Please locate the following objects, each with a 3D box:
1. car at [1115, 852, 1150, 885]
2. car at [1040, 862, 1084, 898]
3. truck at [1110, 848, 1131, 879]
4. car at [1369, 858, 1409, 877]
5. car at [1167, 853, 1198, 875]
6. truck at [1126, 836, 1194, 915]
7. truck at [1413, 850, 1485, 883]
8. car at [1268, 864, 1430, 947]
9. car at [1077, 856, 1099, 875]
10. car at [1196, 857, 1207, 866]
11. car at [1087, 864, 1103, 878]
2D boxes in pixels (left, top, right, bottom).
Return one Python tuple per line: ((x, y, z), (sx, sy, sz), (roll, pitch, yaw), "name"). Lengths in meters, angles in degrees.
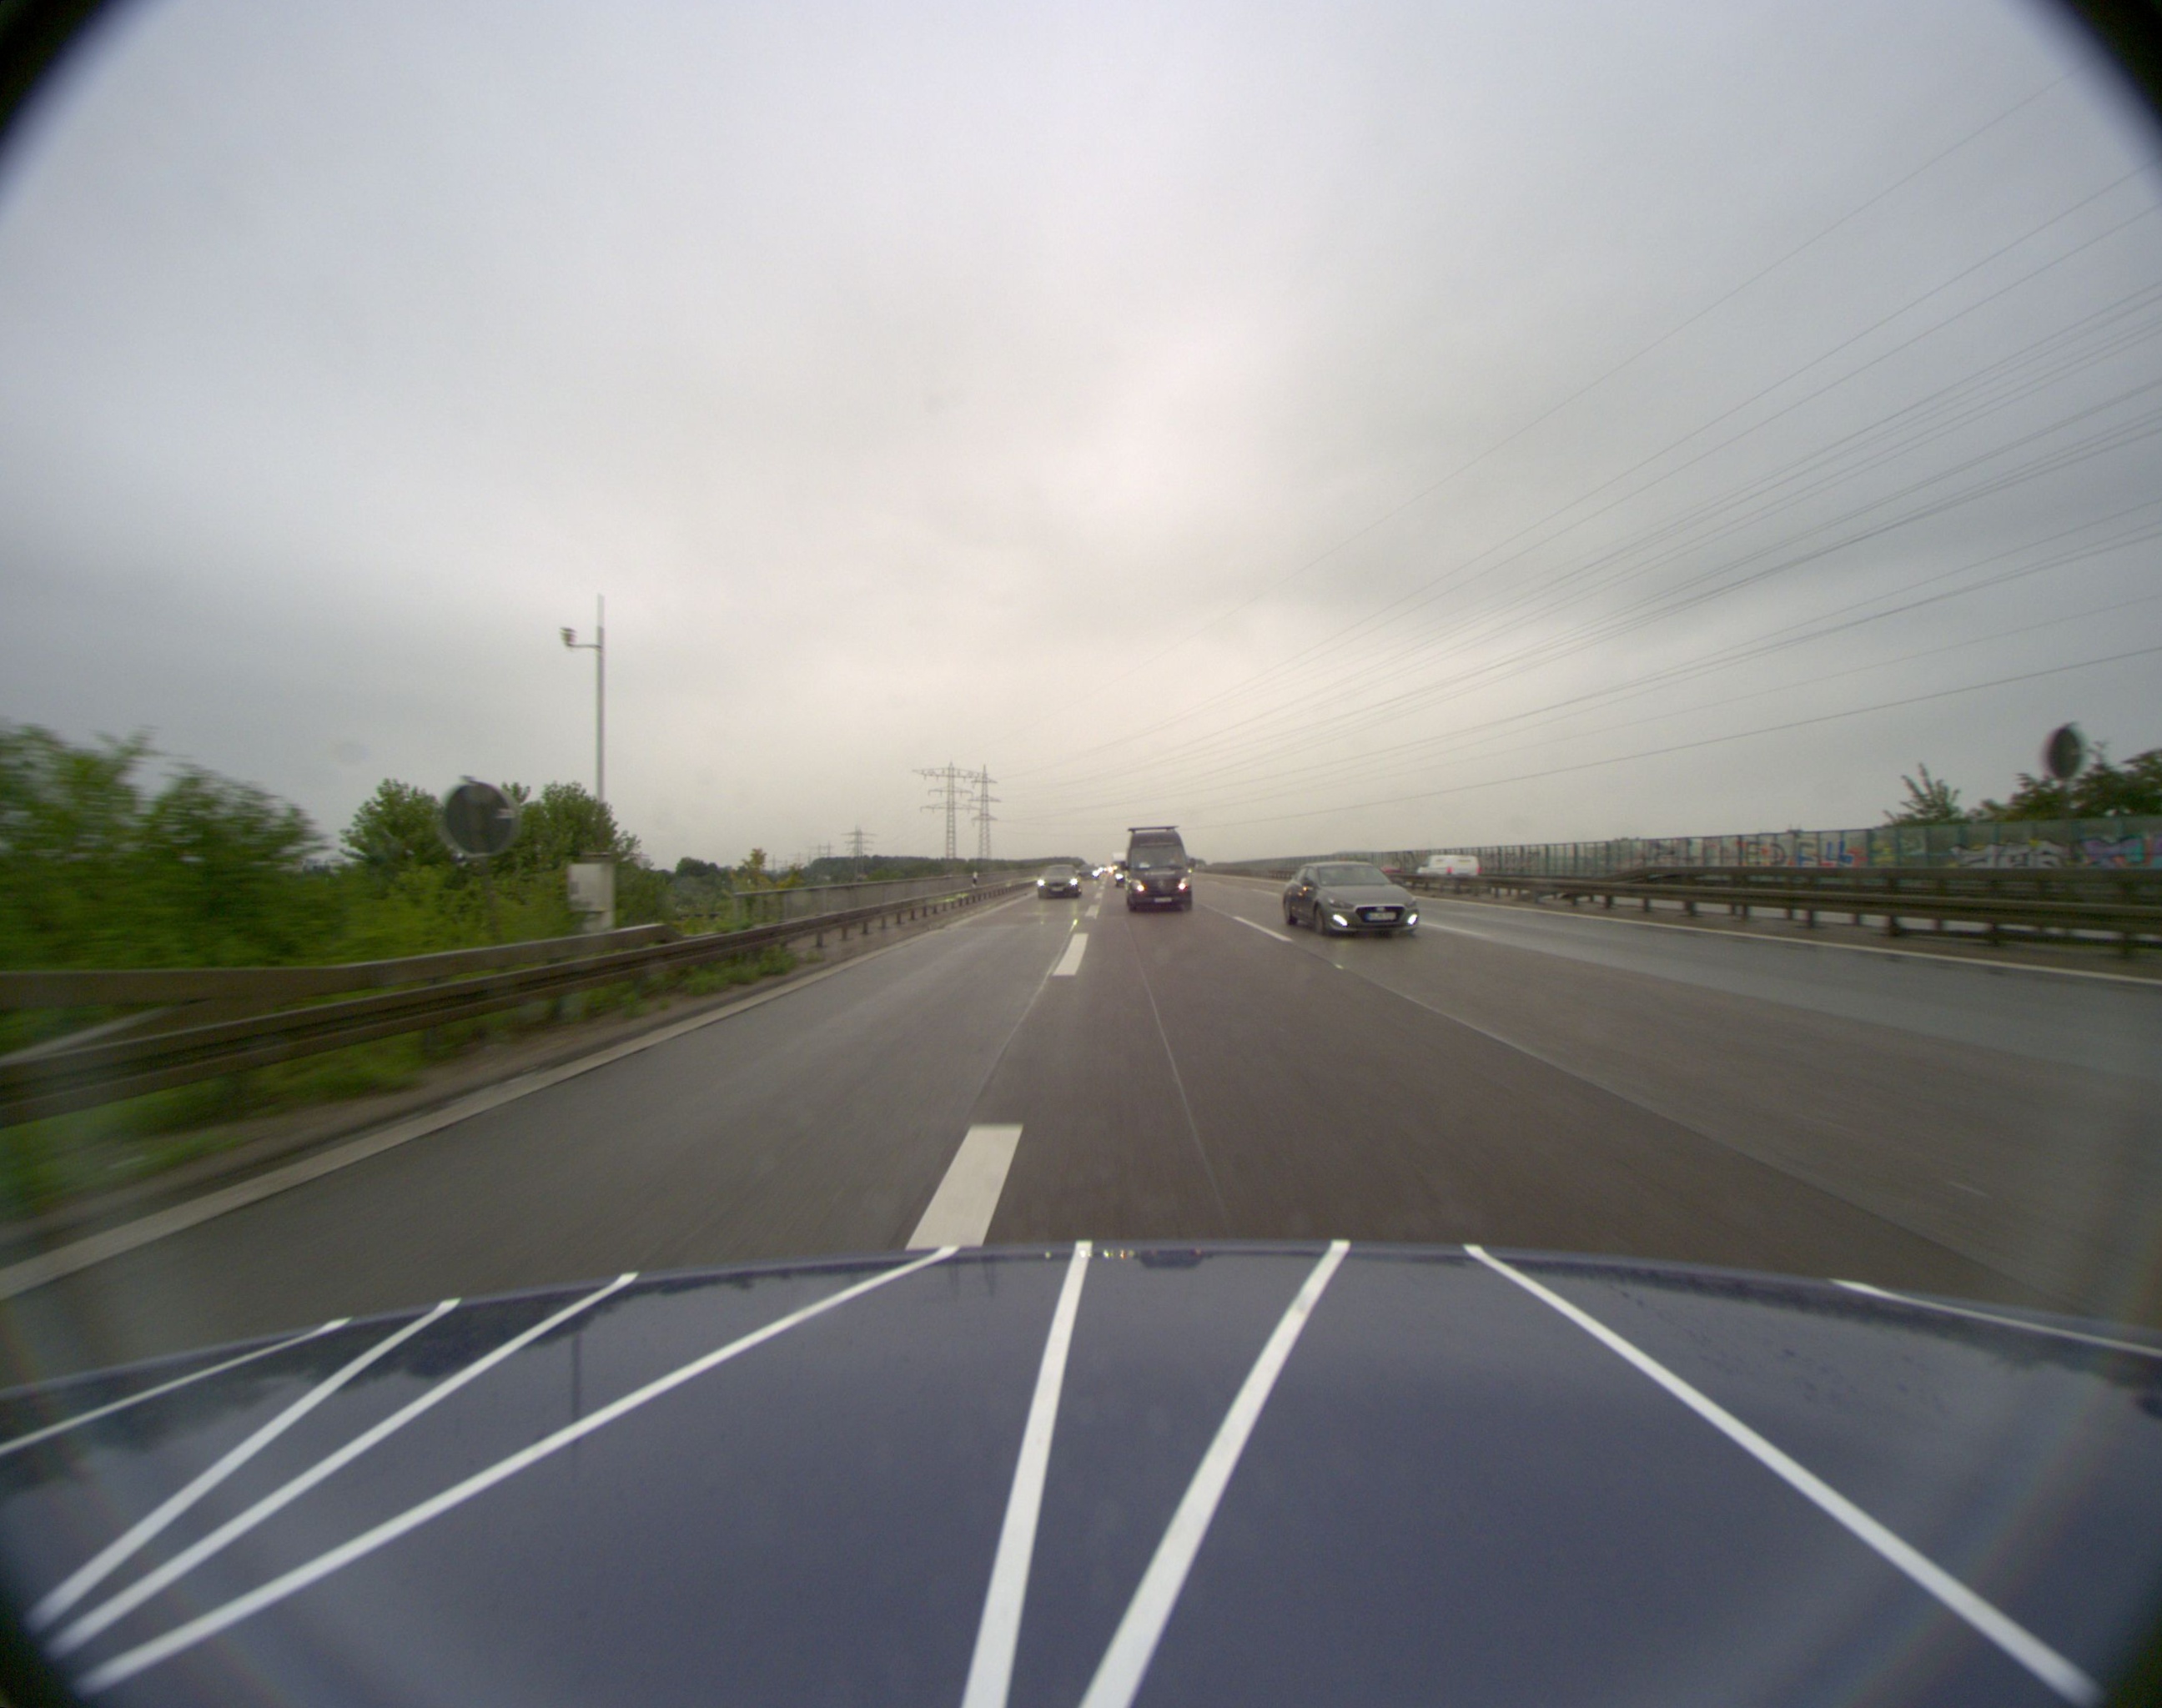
((3.341, 0.956, 49.833), (1.998, 2.001, 4.786), (-2, -1, 1), "car")
((-0.855, 1.196, 36.391), (1.862, 1.531, 4.204), (-2, 0, 1), "car")
((5.688, 1.409, 110.114), (2.703, 4.171, 8.926), (-2, -1, 1), "truck")
((30.660, 1.308, 75.750), (1.998, 1.773, 5.107), (-1, 0, 1), "car")
((7.979, 0.762, 59.966), (1.843, 1.585, 5.156), (-2, 1, 2), "car")
((2.545, 0.606, 25.733), (1.998, 2.324, 6.112), (-1, 1, 3), "truck")
((22.464, 0.739, 46.644), (1.998, 1.919, 5.250), (-1, 0, 1), "truck")
((5.404, 0.962, 16.043), (1.729, 1.394, 4.829), (-2, 0, 1), "car")
((0.677, 1.099, 72.037), (1.998, 1.706, 4.000), (1, 0, 2), "car")
((28.861, 1.845, 182.112), (1.998, 2.002, 5.011), (-2, 0, 1), "car")
((1.873, 2.226, 99.991), (1.998, 1.706, 4.000), (1, 0, 2), "car")
